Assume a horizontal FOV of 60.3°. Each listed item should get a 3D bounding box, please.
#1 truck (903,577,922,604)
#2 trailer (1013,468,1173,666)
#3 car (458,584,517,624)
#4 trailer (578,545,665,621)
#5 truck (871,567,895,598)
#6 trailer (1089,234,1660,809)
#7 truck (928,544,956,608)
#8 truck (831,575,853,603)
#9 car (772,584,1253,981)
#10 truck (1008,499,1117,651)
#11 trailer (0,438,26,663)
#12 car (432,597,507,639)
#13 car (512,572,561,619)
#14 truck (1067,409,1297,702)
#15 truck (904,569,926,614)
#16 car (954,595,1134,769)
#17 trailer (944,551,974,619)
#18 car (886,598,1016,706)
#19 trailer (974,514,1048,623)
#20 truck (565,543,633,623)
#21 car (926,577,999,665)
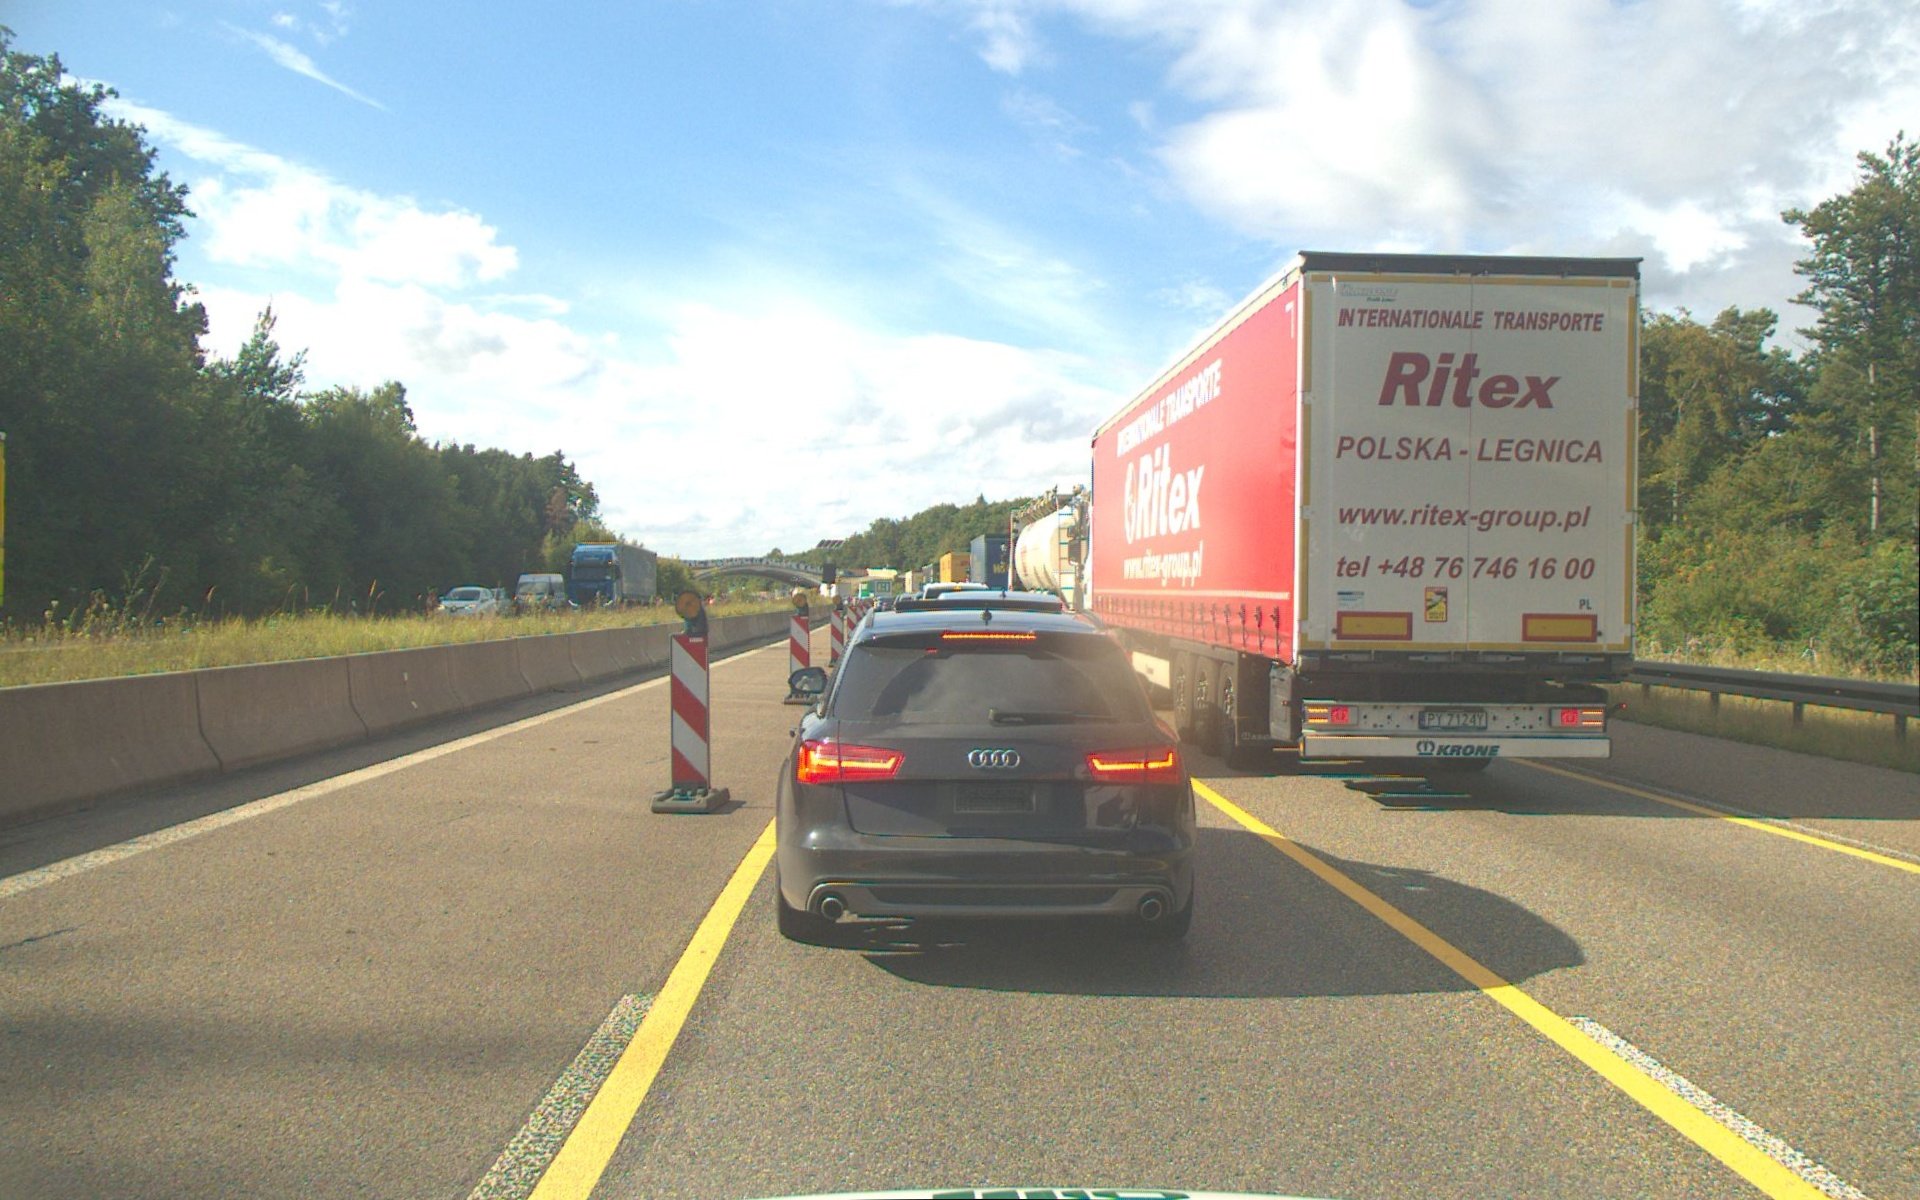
[{"bbox_3d":[-6.599,-1.282,230.200,2.515,3.527,7.395,1,0,-2],"label":"truck"},{"bbox_3d":[2.935,-0.681,40.208,2.590,4.012,12.595,1,0,-1],"label":"trailer"},{"bbox_3d":[-24.877,0.221,87.201,1.953,2.049,3.999,1,0,-1],"label":"car"},{"bbox_3d":[-20.064,-0.985,98.904,2.566,4.214,13.370,1,0,-1],"label":"trailer"},{"bbox_3d":[-10.808,-2.403,231.138,3.238,4.248,9.696,1,0,-3],"label":"truck"},{"bbox_3d":[3.476,-0.571,18.455,2.645,4.038,13.413,1,0,-1],"label":"trailer"},{"bbox_3d":[-1.523,-1.929,134.533,1.953,5.000,9.558,1,0,-2],"label":"truck"},{"bbox_3d":[-18.921,-1.728,264.801,3.239,4.248,9.693,1,0,-5],"label":"truck"},{"bbox_3d":[0.175,0.705,8.265,1.811,1.489,3.999,1,0,-1],"label":"car"},{"bbox_3d":[2.825,-0.650,47.241,2.605,4.041,5.777,1,0,-1],"label":"truck"},{"bbox_3d":[-18.360,-0.943,23.134,2.770,3.991,13.937,1,0,-1],"label":"trailer"},{"bbox_3d":[-19.225,0.695,64.995,1.751,1.588,3.999,1,0,-1],"label":"car"},{"bbox_3d":[-24.825,-0.250,97.065,2.208,2.689,5.010,1,0,-8],"label":"car"},{"bbox_3d":[3.271,-0.622,25.809,2.614,4.029,5.709,1,0,-2],"label":"truck"},{"bbox_3d":[-4.485,-0.812,166.087,2.094,4.332,7.069,1,0,-1],"label":"truck"},{"bbox_3d":[0.714,0.715,15.830,1.493,1.464,3.284,1,0,-1],"label":"car"},{"bbox_3d":[-0.085,-0.879,101.058,1.584,3.987,6.487,1,0,-2],"label":"trailer"},{"bbox_3d":[-0.146,0.714,24.044,1.716,1.421,3.607,1,0,-1],"label":"car"},{"bbox_3d":[2.141,-1.270,73.587,2.748,4.490,10.430,1,0,-1],"label":"trailer"},{"bbox_3d":[-19.974,-0.945,91.737,2.584,4.262,5.466,1,0,-1],"label":"truck"},{"bbox_3d":[0.042,0.465,37.420,1.549,1.869,3.111,1,0,-1],"label":"car"}]
